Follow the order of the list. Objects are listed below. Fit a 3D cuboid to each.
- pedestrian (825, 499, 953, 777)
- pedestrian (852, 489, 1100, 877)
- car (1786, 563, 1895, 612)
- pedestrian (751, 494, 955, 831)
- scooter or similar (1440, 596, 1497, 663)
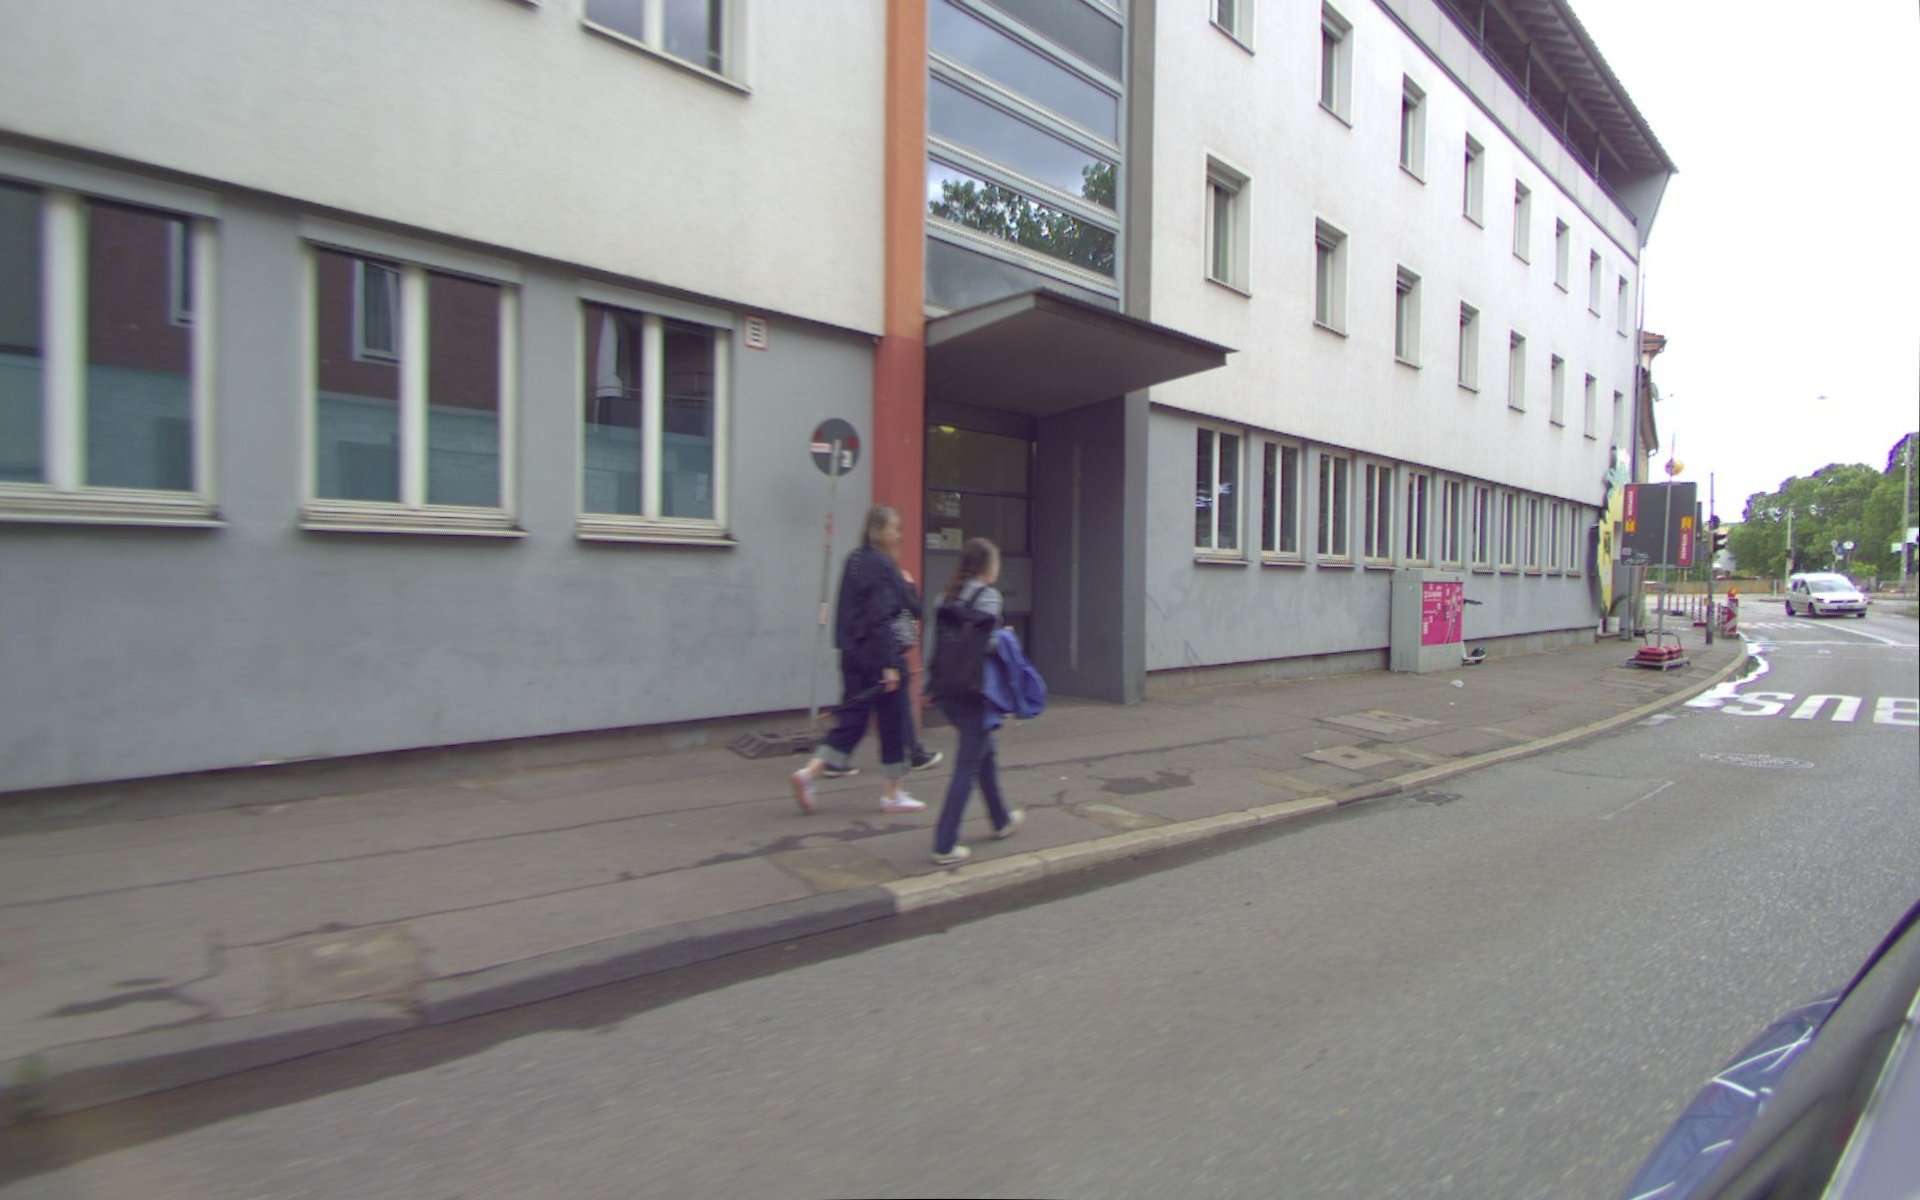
[{"bbox_3d":[-0.486,0.239,6.852,0.596,1.778,0.545,2,2,-31],"label":"pedestrian"},{"bbox_3d":[0.088,0.372,5.327,0.927,1.816,0.804,2,2,-44],"label":"pedestrian"},{"bbox_3d":[36.742,-0.559,42.391,2.050,1.807,4.426,-3,2,22],"label":"car"},{"bbox_3d":[-0.617,0.316,5.872,0.864,1.778,0.687,2,2,-44],"label":"pedestrian"},{"bbox_3d":[8.852,0.495,17.590,0.429,1.110,1.416,4,2,45],"label":"scooter or similar"}]
